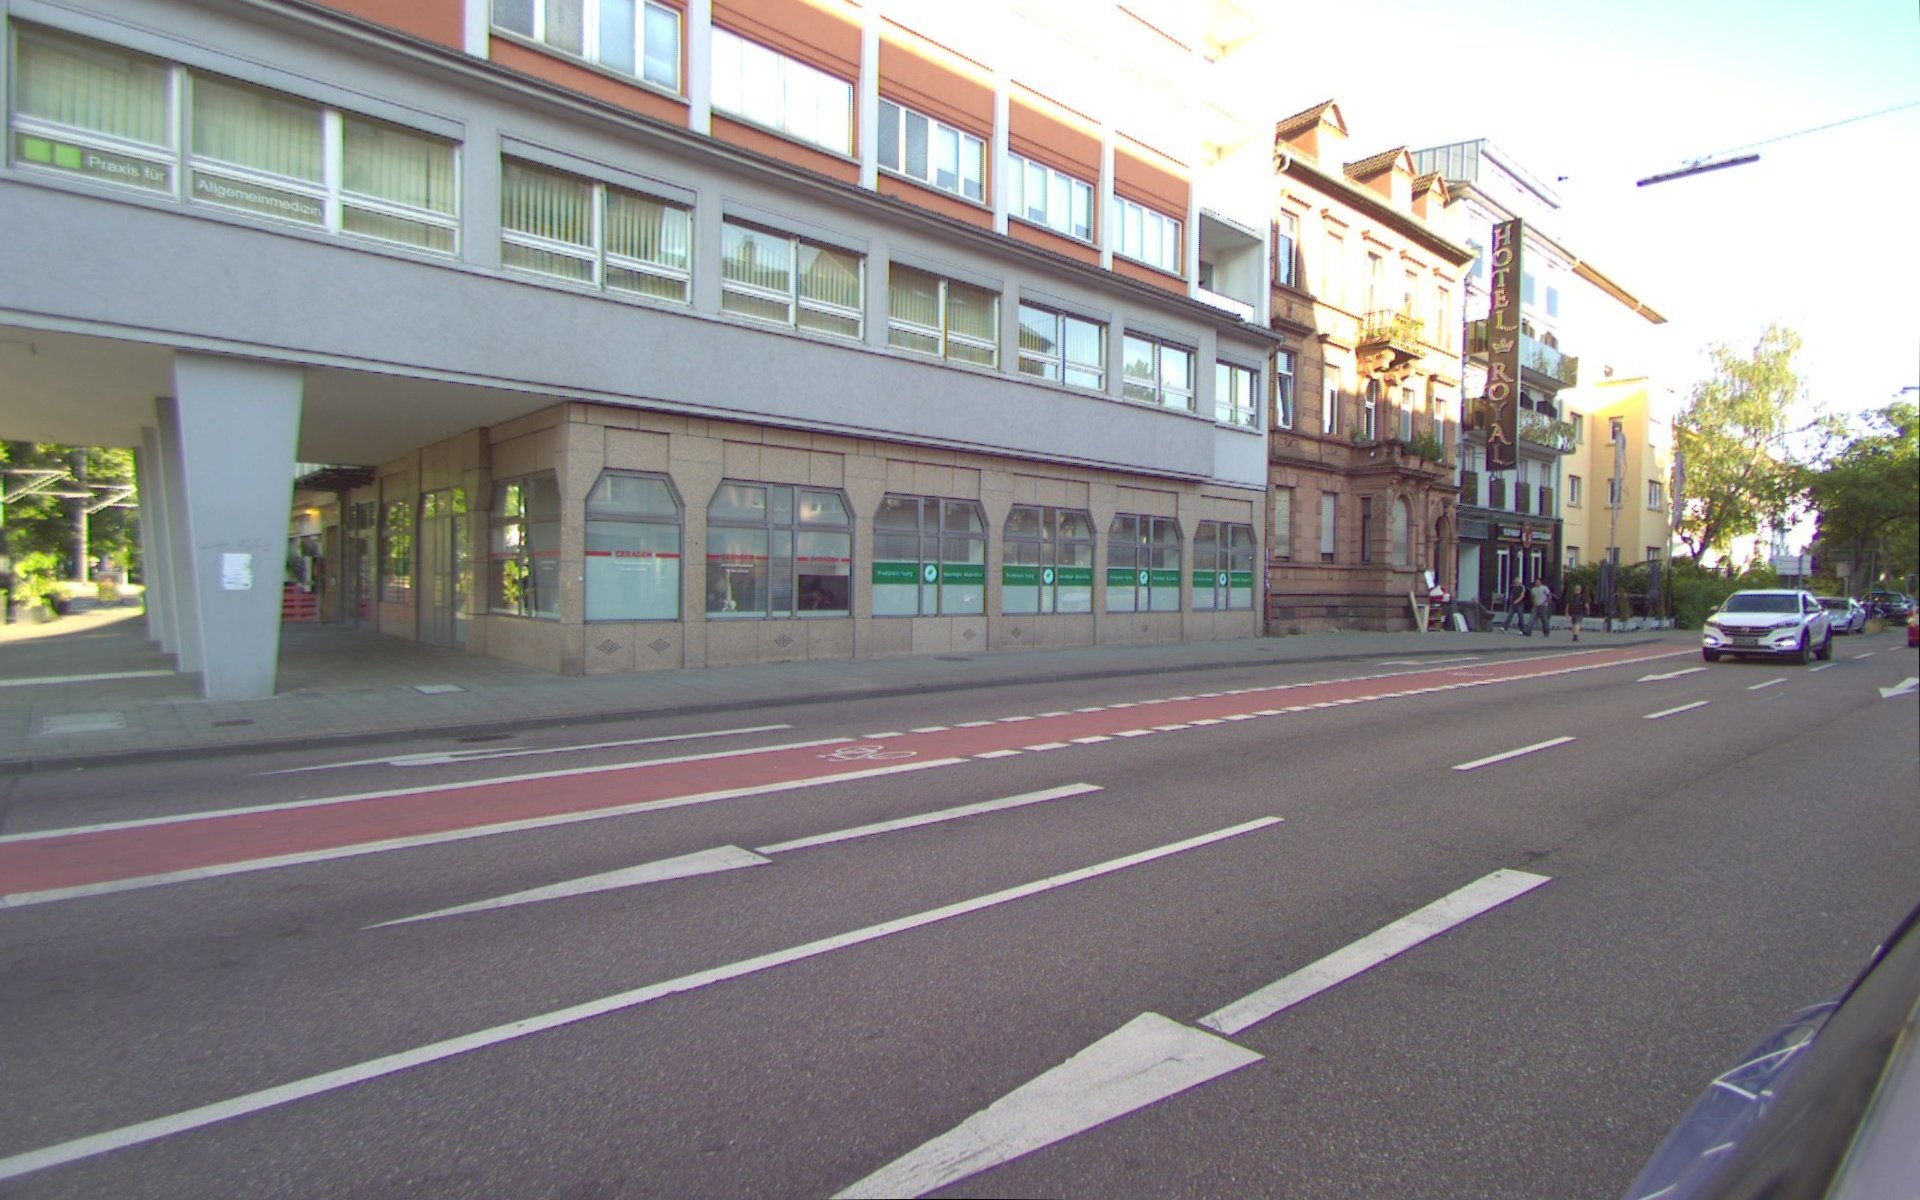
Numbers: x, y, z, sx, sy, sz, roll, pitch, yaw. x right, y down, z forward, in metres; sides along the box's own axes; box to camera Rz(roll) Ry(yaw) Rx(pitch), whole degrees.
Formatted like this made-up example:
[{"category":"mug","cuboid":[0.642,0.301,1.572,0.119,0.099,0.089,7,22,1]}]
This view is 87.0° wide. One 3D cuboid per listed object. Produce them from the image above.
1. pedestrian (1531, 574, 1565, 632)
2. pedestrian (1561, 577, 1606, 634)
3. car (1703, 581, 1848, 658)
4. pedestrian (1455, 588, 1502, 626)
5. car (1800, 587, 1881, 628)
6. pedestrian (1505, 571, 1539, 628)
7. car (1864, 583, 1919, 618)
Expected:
[{"category":"pedestrian","cuboid":[18.106,0.069,31.156,0.994,1.747,0.667,0,1,-44]},{"category":"pedestrian","cuboid":[18.428,0.145,29.897,0.992,1.621,0.739,0,4,-37]},{"category":"car","cuboid":[18.998,0.385,23.531,4.195,1.627,1.920,-1,0,-41]},{"category":"pedestrian","cuboid":[16.646,0.211,32.472,0.909,1.150,1.098,0,1,-43]},{"category":"car","cuboid":[35.526,0.272,40.815,4.003,1.536,1.904,0,1,-41]},{"category":"pedestrian","cuboid":[17.615,-0.017,31.721,0.666,1.747,0.995,2,1,43]},{"category":"car","cuboid":[47.266,0.000,51.087,4.121,1.645,1.945,0,1,-42]}]
